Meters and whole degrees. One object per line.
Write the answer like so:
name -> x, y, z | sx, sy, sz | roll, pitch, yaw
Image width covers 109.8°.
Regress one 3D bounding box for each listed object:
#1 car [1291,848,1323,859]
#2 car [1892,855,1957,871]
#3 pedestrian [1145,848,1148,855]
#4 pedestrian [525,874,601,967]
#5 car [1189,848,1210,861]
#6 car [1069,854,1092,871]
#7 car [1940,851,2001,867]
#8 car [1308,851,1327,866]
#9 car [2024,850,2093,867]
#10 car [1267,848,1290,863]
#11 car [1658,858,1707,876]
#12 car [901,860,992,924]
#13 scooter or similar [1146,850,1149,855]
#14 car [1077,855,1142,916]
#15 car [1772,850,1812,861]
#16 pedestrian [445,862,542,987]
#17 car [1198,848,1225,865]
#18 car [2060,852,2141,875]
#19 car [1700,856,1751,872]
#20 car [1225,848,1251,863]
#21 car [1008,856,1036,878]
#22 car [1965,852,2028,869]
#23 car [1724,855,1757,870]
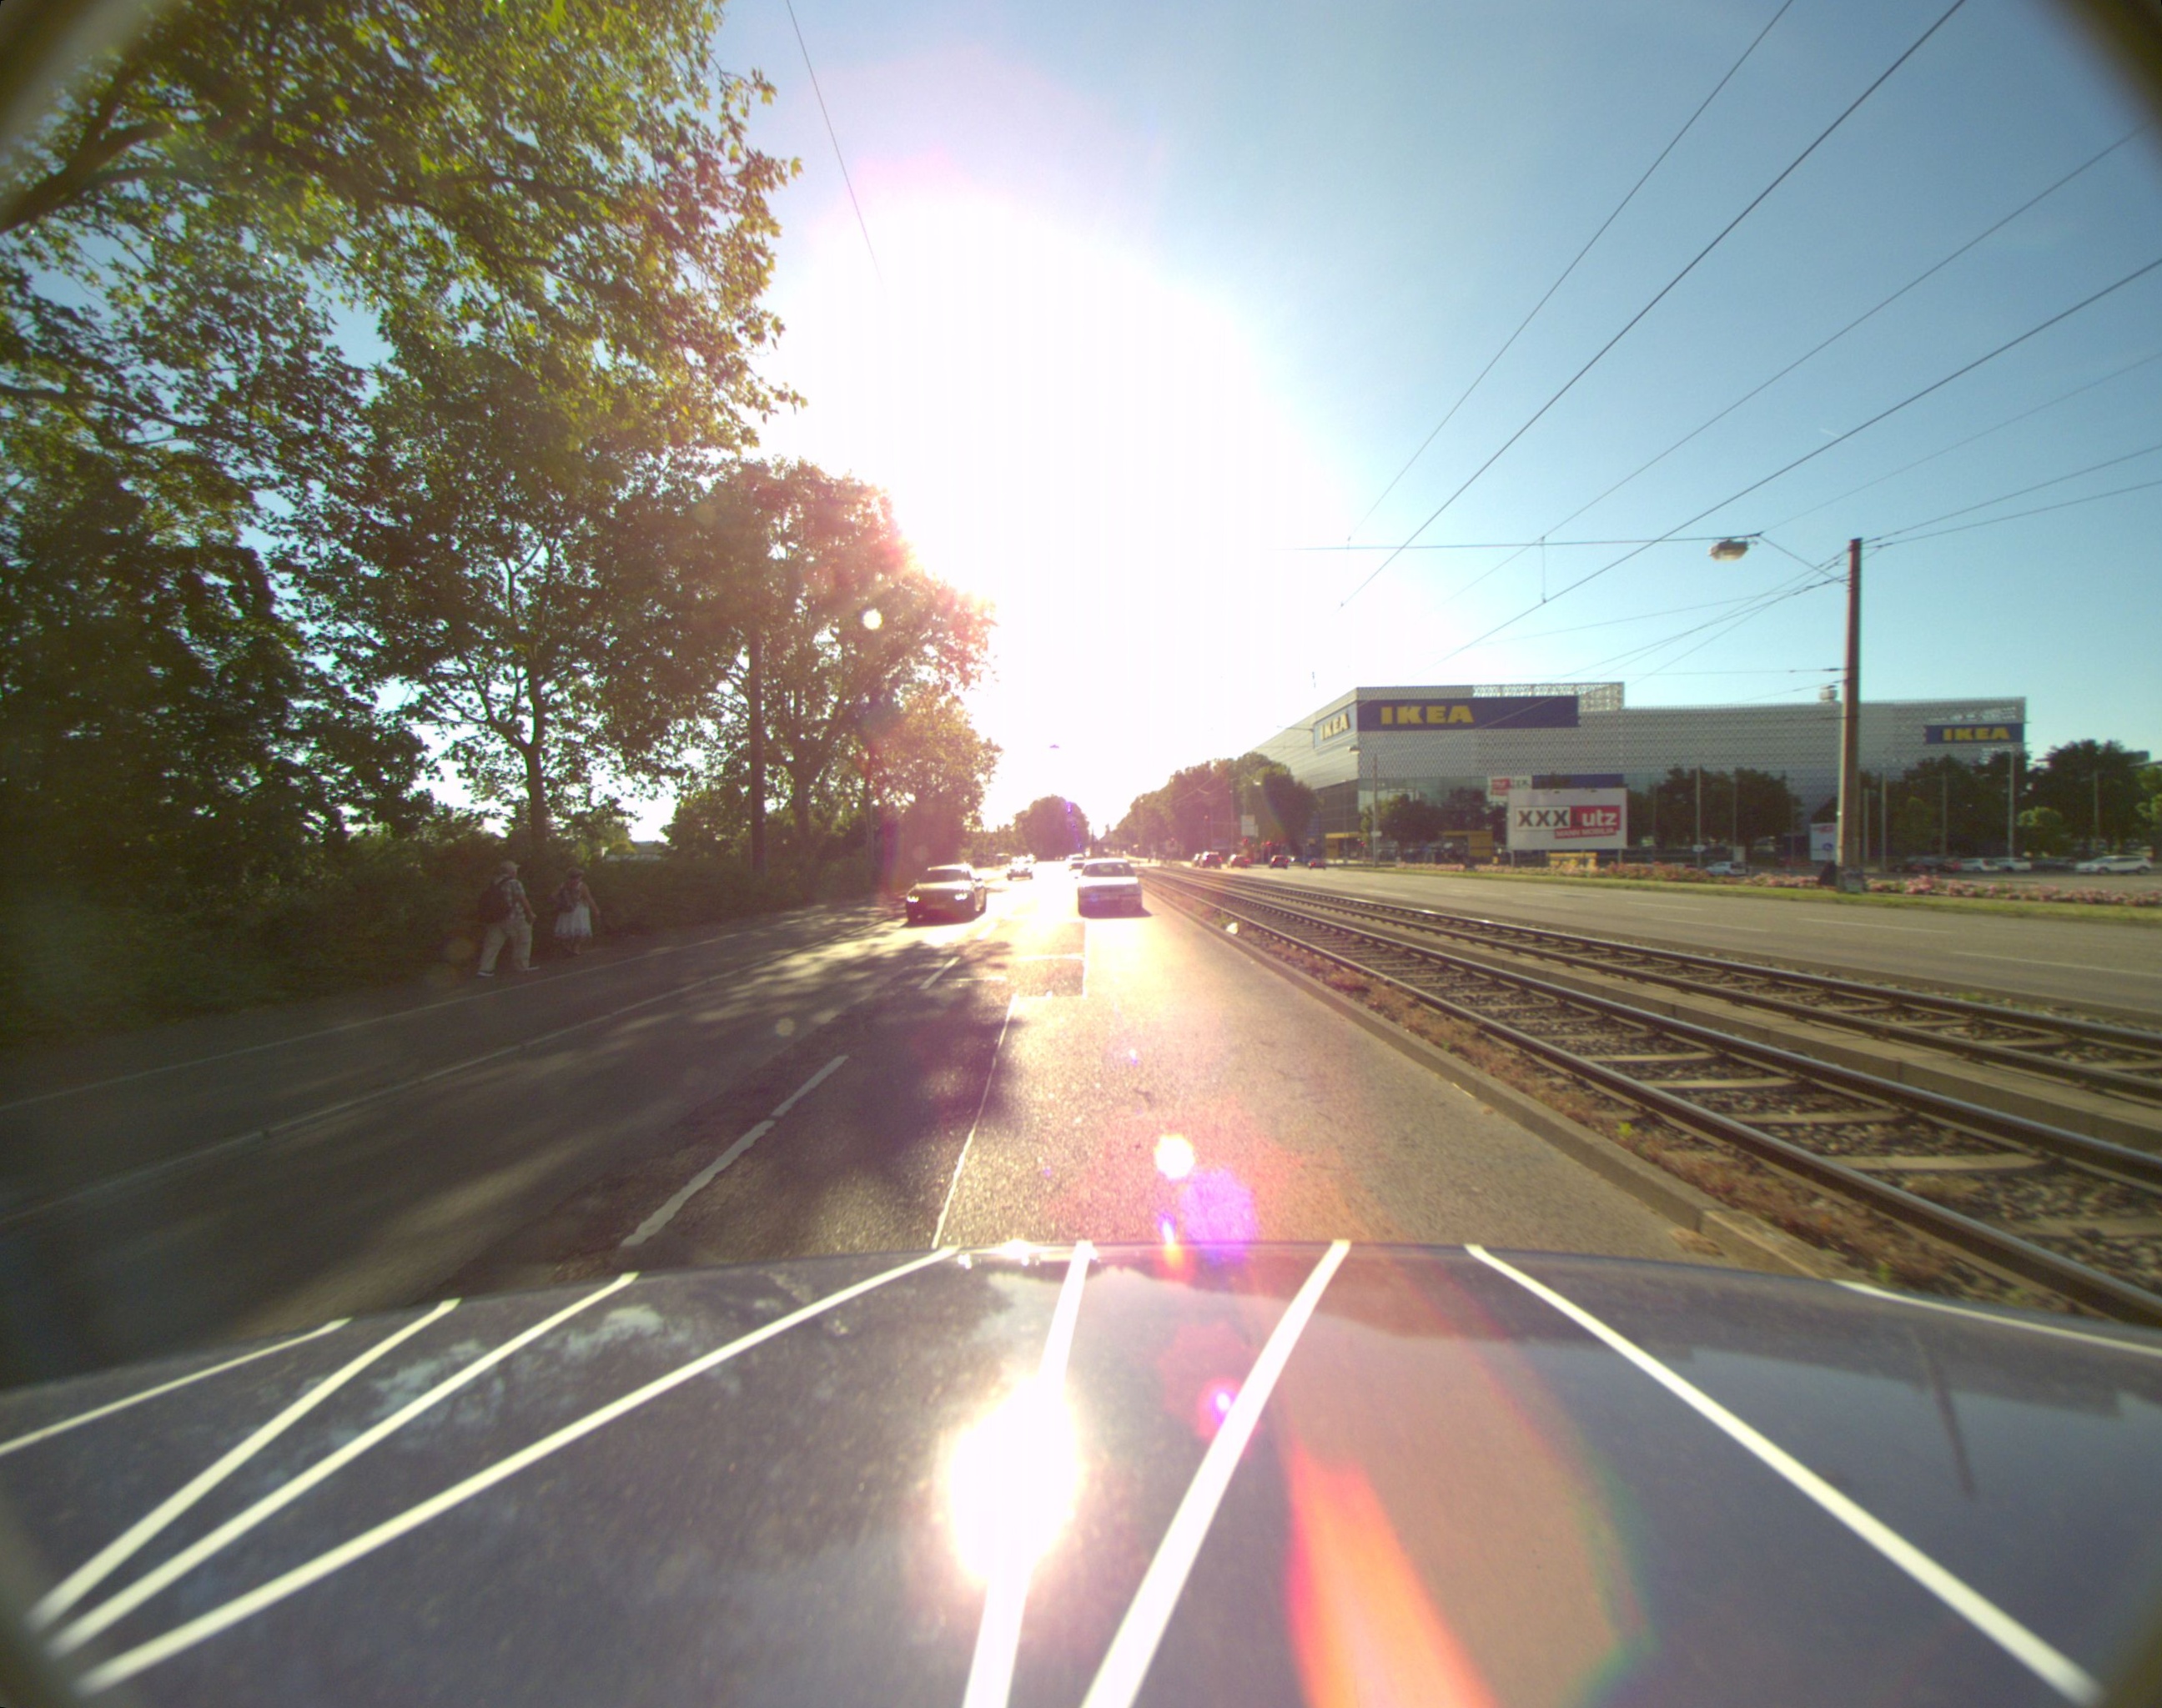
car -> 33.463, -0.071, 112.444 | 4.252, 1.489, 2.016 | 1, 1, 6
car -> 88.380, 0.920, 79.710 | 1.672, 1.543, 4.438 | -4, 0, -4
pedestrian -> 15.075, -0.599, 175.433 | 0.603, 1.611, 0.690 | -3, 1, 5
pedestrian -> -8.522, 1.076, 12.523 | 0.725, 1.472, 0.722 | -1, 1, 0
car -> 13.361, 0.086, 85.580 | 1.788, 1.439, 4.108 | 0, 0, 1
car -> -0.007, 0.748, 70.639 | 1.871, 1.422, 3.831 | -4, 0, 3
car -> 93.578, 0.521, 80.014 | 1.727, 1.646, 4.000 | -1, 0, 1
car -> 25.435, 0.484, 81.920 | 1.823, 1.633, 4.005 | 0, 0, 15
car -> 101.342, 0.450, 78.834 | 1.998, 1.646, 4.000 | -1, 0, 1
car -> 21.482, 0.136, 82.684 | 1.938, 1.468, 4.134 | 1, 1, 9
car -> 64.361, 1.331, 81.345 | 1.935, 1.734, 3.999 | -4, 0, -3
car -> -3.711, 1.004, 21.799 | 1.871, 1.459, 4.584 | -2, 1, -2
scooter or similar -> 15.057, -0.349, 172.573 | 0.665, 1.227, 1.372 | -2, 1, 0
car -> 0.758, 0.807, 21.325 | 1.602, 1.440, 3.799 | -2, 1, 1
car -> 95.245, 0.210, 101.831 | 3.583, 1.452, 1.770 | 1, 2, -1
pedestrian -> -8.387, 0.977, 10.878 | 0.724, 1.698, 0.813 | -1, 1, 0
car -> 13.375, 0.246, 78.131 | 1.998, 1.646, 4.658 | 0, 0, 1
car -> 92.862, 0.883, 69.259 | 4.222, 1.789, 1.828 | -4, 1, 14
car -> 69.185, 1.025, 81.659 | 1.935, 1.583, 3.999 | -4, 0, -3
car -> 16.927, 0.158, 82.003 | 1.861, 1.452, 4.137 | -1, 0, -1
car -> -4.213, 0.933, 54.868 | 1.857, 1.415, 3.979 | -2, 0, -2
car -> 96.173, 0.652, 79.876 | 1.800, 1.646, 4.000 | -1, 0, 1
car -> 80.624, 1.041, 93.001 | 1.904, 1.559, 4.254 | -3, 0, 25
